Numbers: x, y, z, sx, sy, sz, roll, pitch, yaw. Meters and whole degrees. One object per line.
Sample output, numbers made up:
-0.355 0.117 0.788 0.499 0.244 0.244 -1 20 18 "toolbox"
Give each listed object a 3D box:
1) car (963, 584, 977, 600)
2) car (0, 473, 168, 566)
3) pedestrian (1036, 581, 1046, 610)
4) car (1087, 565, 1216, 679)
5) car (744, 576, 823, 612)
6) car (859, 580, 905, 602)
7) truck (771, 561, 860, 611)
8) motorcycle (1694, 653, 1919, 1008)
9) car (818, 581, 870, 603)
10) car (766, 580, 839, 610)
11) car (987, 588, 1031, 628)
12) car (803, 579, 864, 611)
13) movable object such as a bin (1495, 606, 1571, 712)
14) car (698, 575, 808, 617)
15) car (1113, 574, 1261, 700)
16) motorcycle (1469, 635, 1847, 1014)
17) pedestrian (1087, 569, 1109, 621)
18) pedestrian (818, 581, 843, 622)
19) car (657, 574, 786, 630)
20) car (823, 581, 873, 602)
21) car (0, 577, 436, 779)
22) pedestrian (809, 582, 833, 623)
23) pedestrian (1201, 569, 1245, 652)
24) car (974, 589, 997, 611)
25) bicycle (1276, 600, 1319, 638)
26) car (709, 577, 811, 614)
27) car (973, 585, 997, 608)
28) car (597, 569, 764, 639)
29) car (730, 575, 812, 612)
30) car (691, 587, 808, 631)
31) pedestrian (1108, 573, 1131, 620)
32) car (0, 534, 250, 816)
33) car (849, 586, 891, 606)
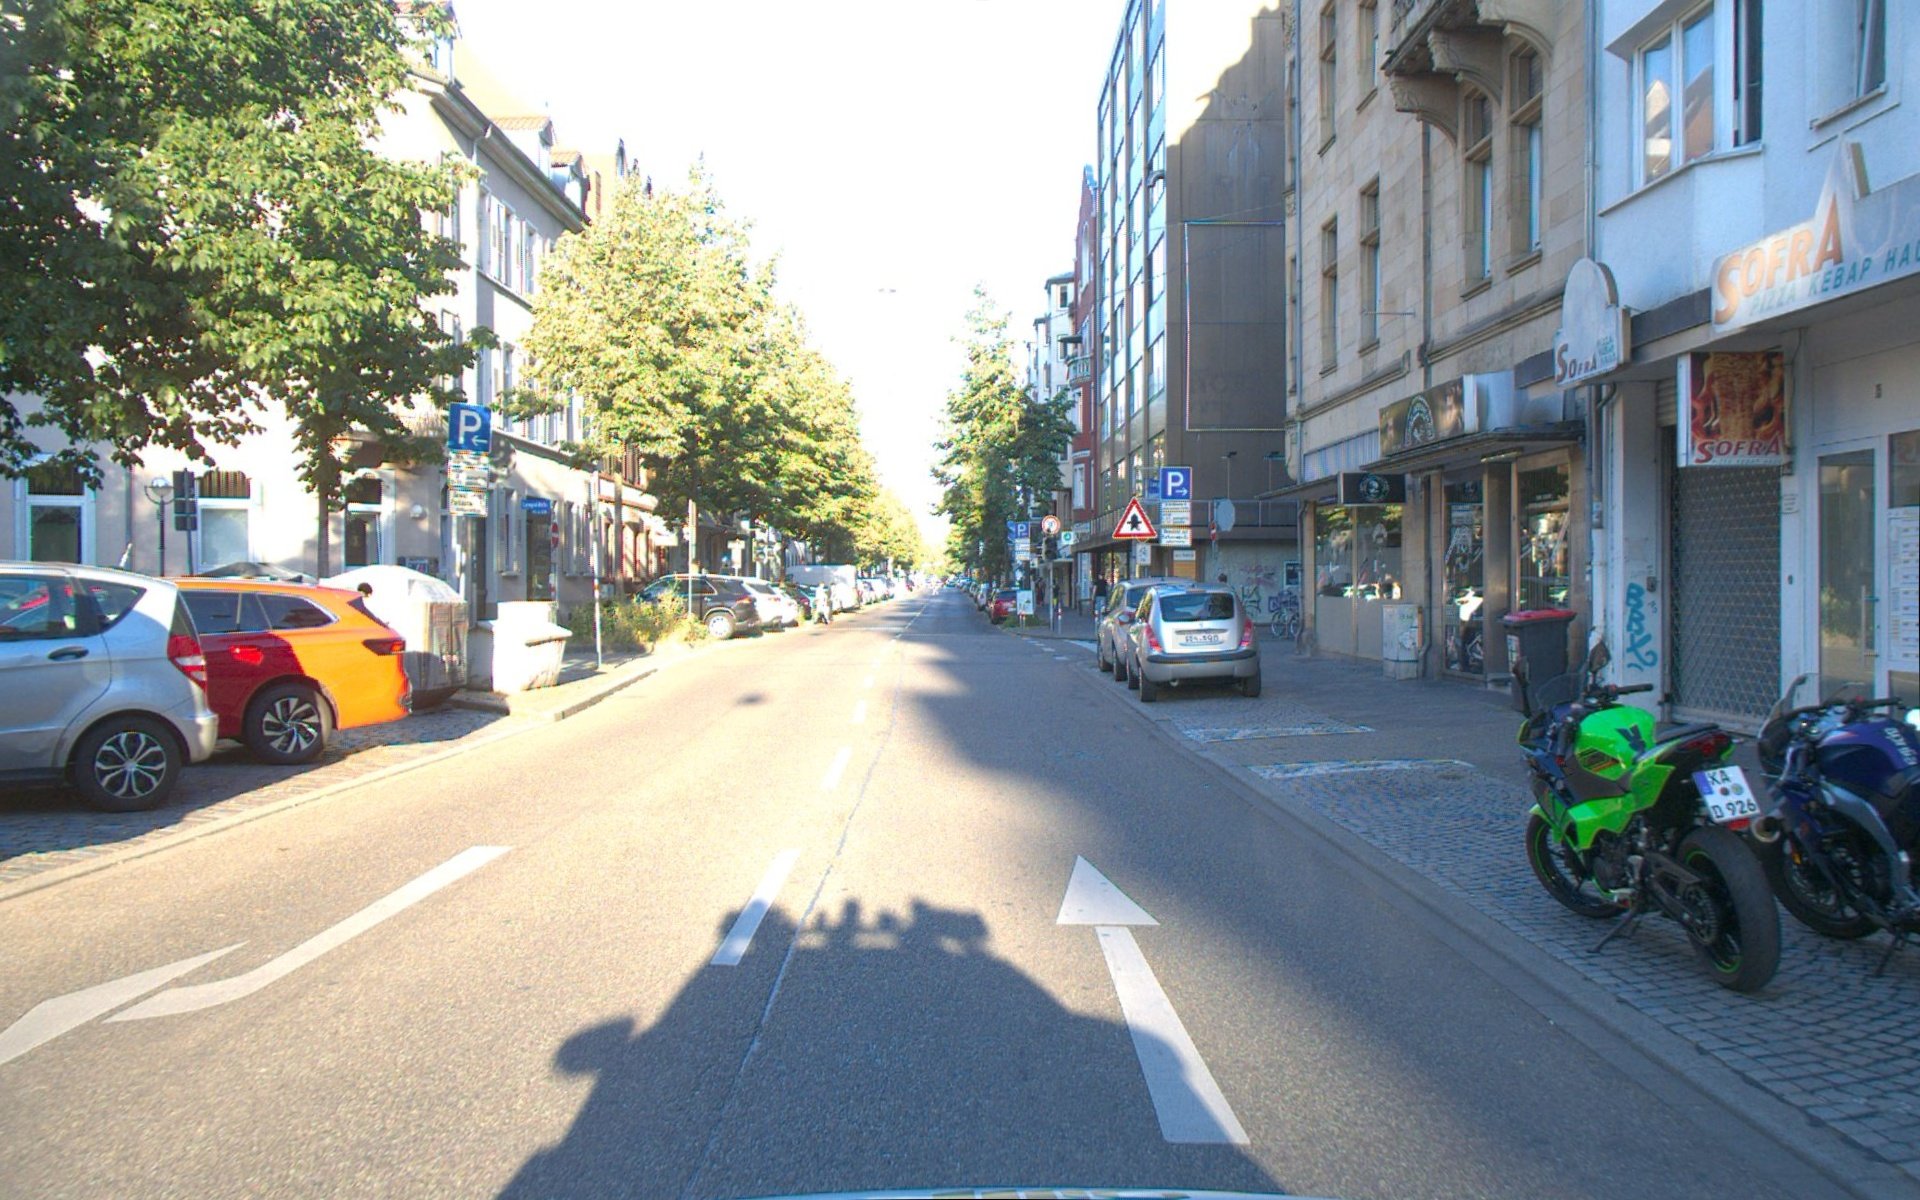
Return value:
1.013 -0.808 174.076 1.283 1.628 2.659 1 0 -3 "car"
-17.700 -1.523 31.901 4.365 1.706 1.944 0 1 -27 "car"
4.719 -0.279 96.109 0.523 1.650 0.534 1 1 0 "pedestrian"
3.209 0.312 28.350 1.662 1.800 3.999 0 1 -1 "car"
-8.700 -0.303 81.854 3.664 1.624 2.000 1 0 -1 "car"
-6.267 -0.715 133.283 3.663 1.738 2.000 1 1 -1 "car"
-8.107 -0.796 93.084 4.841 2.660 2.000 1 0 -1 "truck"
3.602 0.829 6.325 0.576 1.143 2.210 0 1 -1 "motorcycle"
-8.462 -0.588 121.215 3.664 1.475 2.000 1 0 -1 "car"
-8.238 -0.262 86.710 3.664 1.475 2.000 1 0 -1 "car"
2.049 0.335 70.365 1.545 1.569 3.395 -2 0 -3 "car"
-7.954 -0.325 104.106 3.663 1.891 2.000 1 1 -1 "car"
6.208 0.628 17.942 0.583 1.103 0.664 1 1 0 "movable object such as a bin"
-8.628 -0.174 69.142 4.336 1.627 2.000 1 0 -1 "car"
3.164 0.457 23.702 1.645 1.588 4.001 -2 1 2 "car"
2.798 0.814 6.923 0.576 1.221 2.210 -3 1 -1 "motorcycle"
5.055 -0.174 60.725 0.700 1.898 0.679 0 1 -3 "pedestrian"
-5.544 0.067 70.784 0.717 1.712 0.746 1 0 -40 "pedestrian"
-7.697 0.042 53.663 3.909 1.738 1.833 1 1 -1 "car"
-8.528 -0.656 125.971 3.664 1.519 2.000 1 0 -1 "car"
-6.625 0.567 13.889 3.945 1.511 1.980 0 1 -30 "car"
-5.862 0.094 69.590 0.710 1.702 0.700 0 1 -40 "pedestrian"
5.840 0.213 36.768 0.739 1.798 1.222 1 1 -1 "pedestrian"
1.572 -0.009 102.514 1.182 1.323 2.659 1 0 -3 "car"
9.611 0.537 47.142 0.408 1.048 1.682 0 1 -18 "bicycle"
-8.922 -0.190 74.077 4.336 1.529 2.000 1 0 -1 "car"
1.425 -0.193 95.218 1.182 1.323 2.659 1 0 -3 "car"
-7.828 0.120 46.603 4.358 1.867 2.033 1 0 -1 "car"
-9.001 -0.309 79.035 3.664 1.671 2.000 1 0 -1 "car"
-7.795 0.308 61.623 4.090 1.533 2.000 1 0 -1 "car"
5.852 -0.129 60.752 0.750 1.718 0.786 0 1 -3 "pedestrian"
-6.799 0.435 10.461 3.956 1.725 1.727 1 0 -37 "car"
-8.202 -0.371 151.148 3.663 1.738 2.000 1 1 -1 "car"
